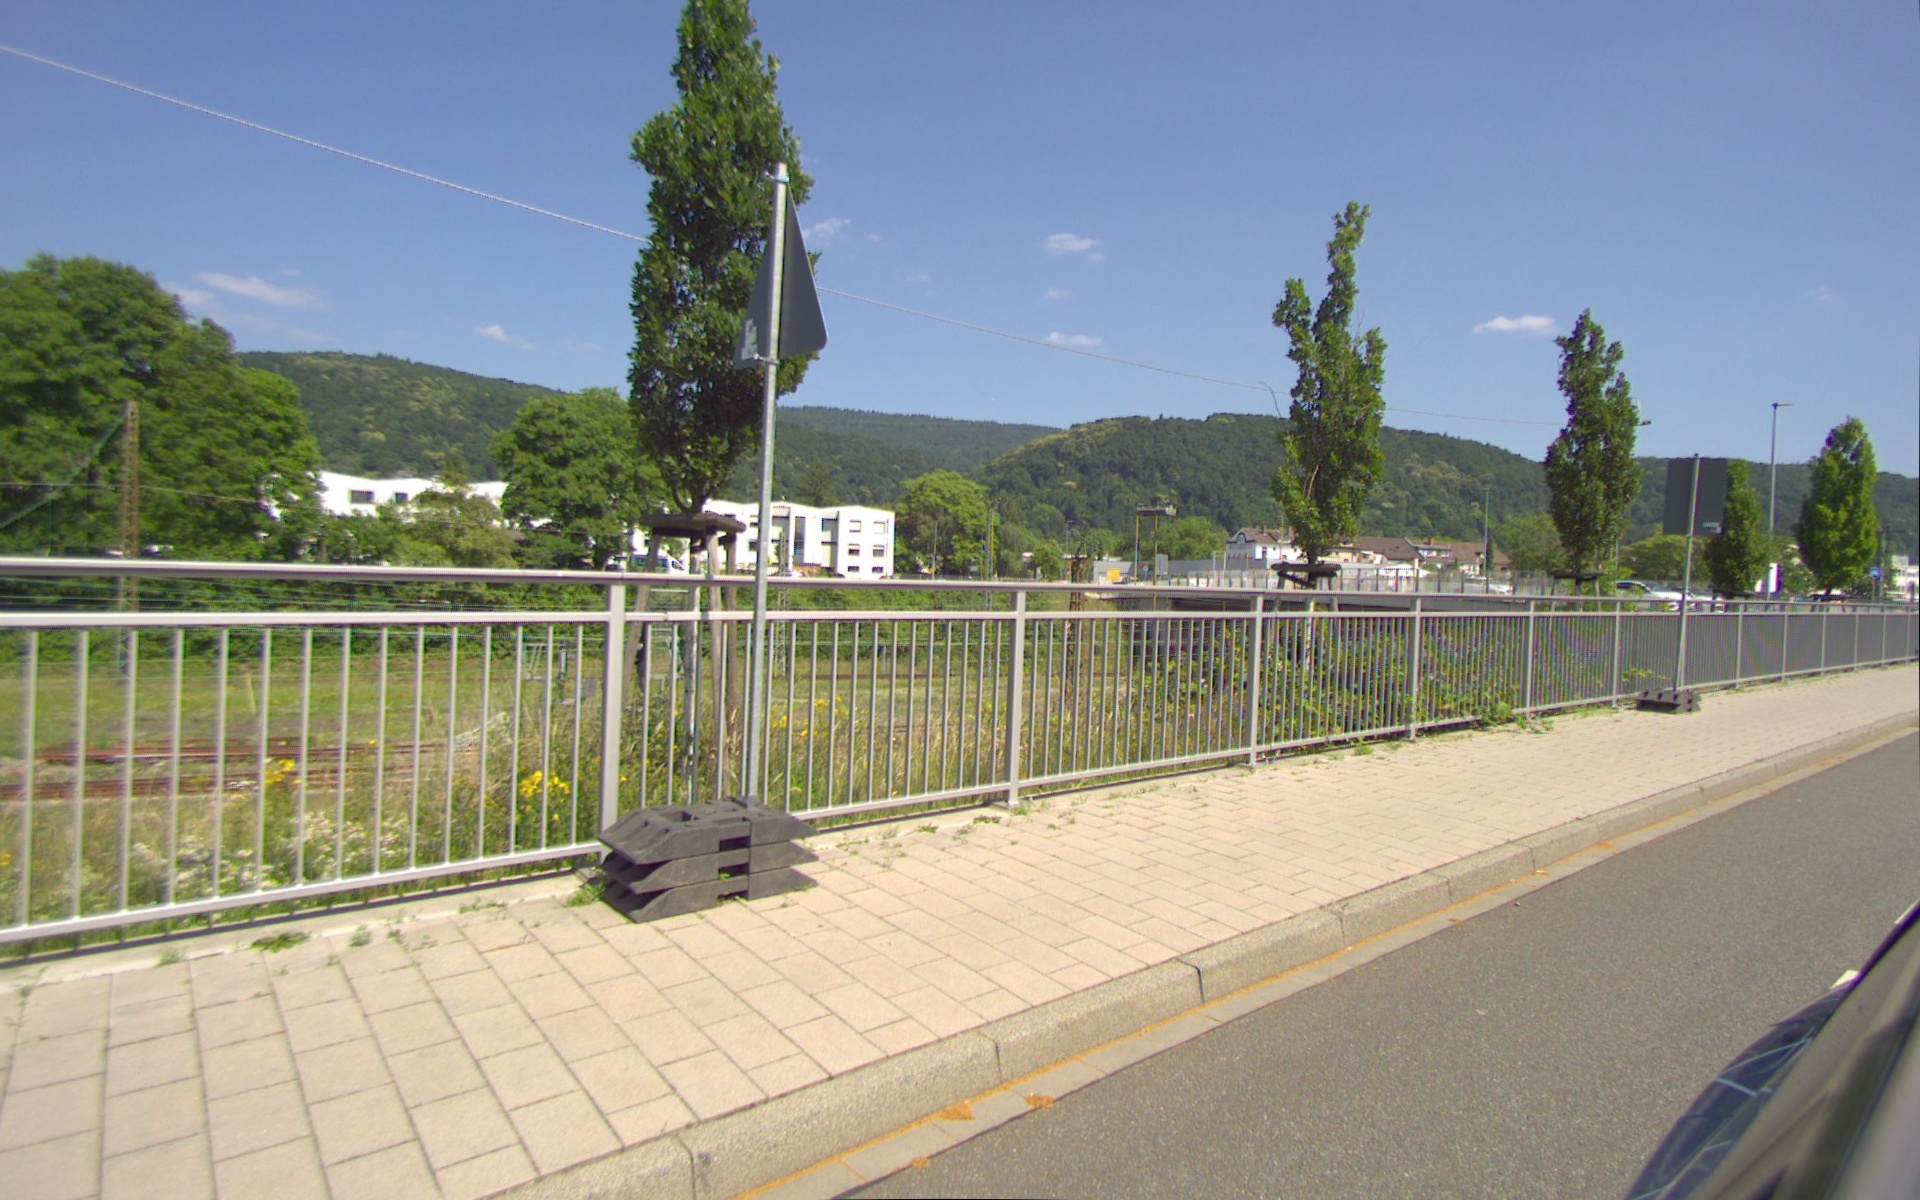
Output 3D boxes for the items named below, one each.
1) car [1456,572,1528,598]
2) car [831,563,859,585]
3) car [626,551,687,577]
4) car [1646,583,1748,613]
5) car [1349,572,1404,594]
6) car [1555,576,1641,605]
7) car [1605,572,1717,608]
[{"bbox_3d":[36.789,-1.076,70.080,1.700,1.646,4.453,2,2,-18],"label":"car"},{"bbox_3d":[-11.531,-2.628,101.359,1.958,2.038,4.481,2,2,-16],"label":"car"},{"bbox_3d":[-27.286,-3.261,91.047,4.893,2.139,2.002,1,2,-33],"label":"car"},{"bbox_3d":[40.406,-0.144,55.608,1.700,1.487,4.421,2,2,-14],"label":"car"},{"bbox_3d":[33.920,-1.394,82.487,1.700,1.646,4.453,2,1,-15],"label":"car"},{"bbox_3d":[39.302,-0.607,62.473,1.700,1.646,4.453,2,2,-14],"label":"car"},{"bbox_3d":[37.504,-0.561,54.276,1.958,1.740,4.644,2,2,-19],"label":"car"}]
